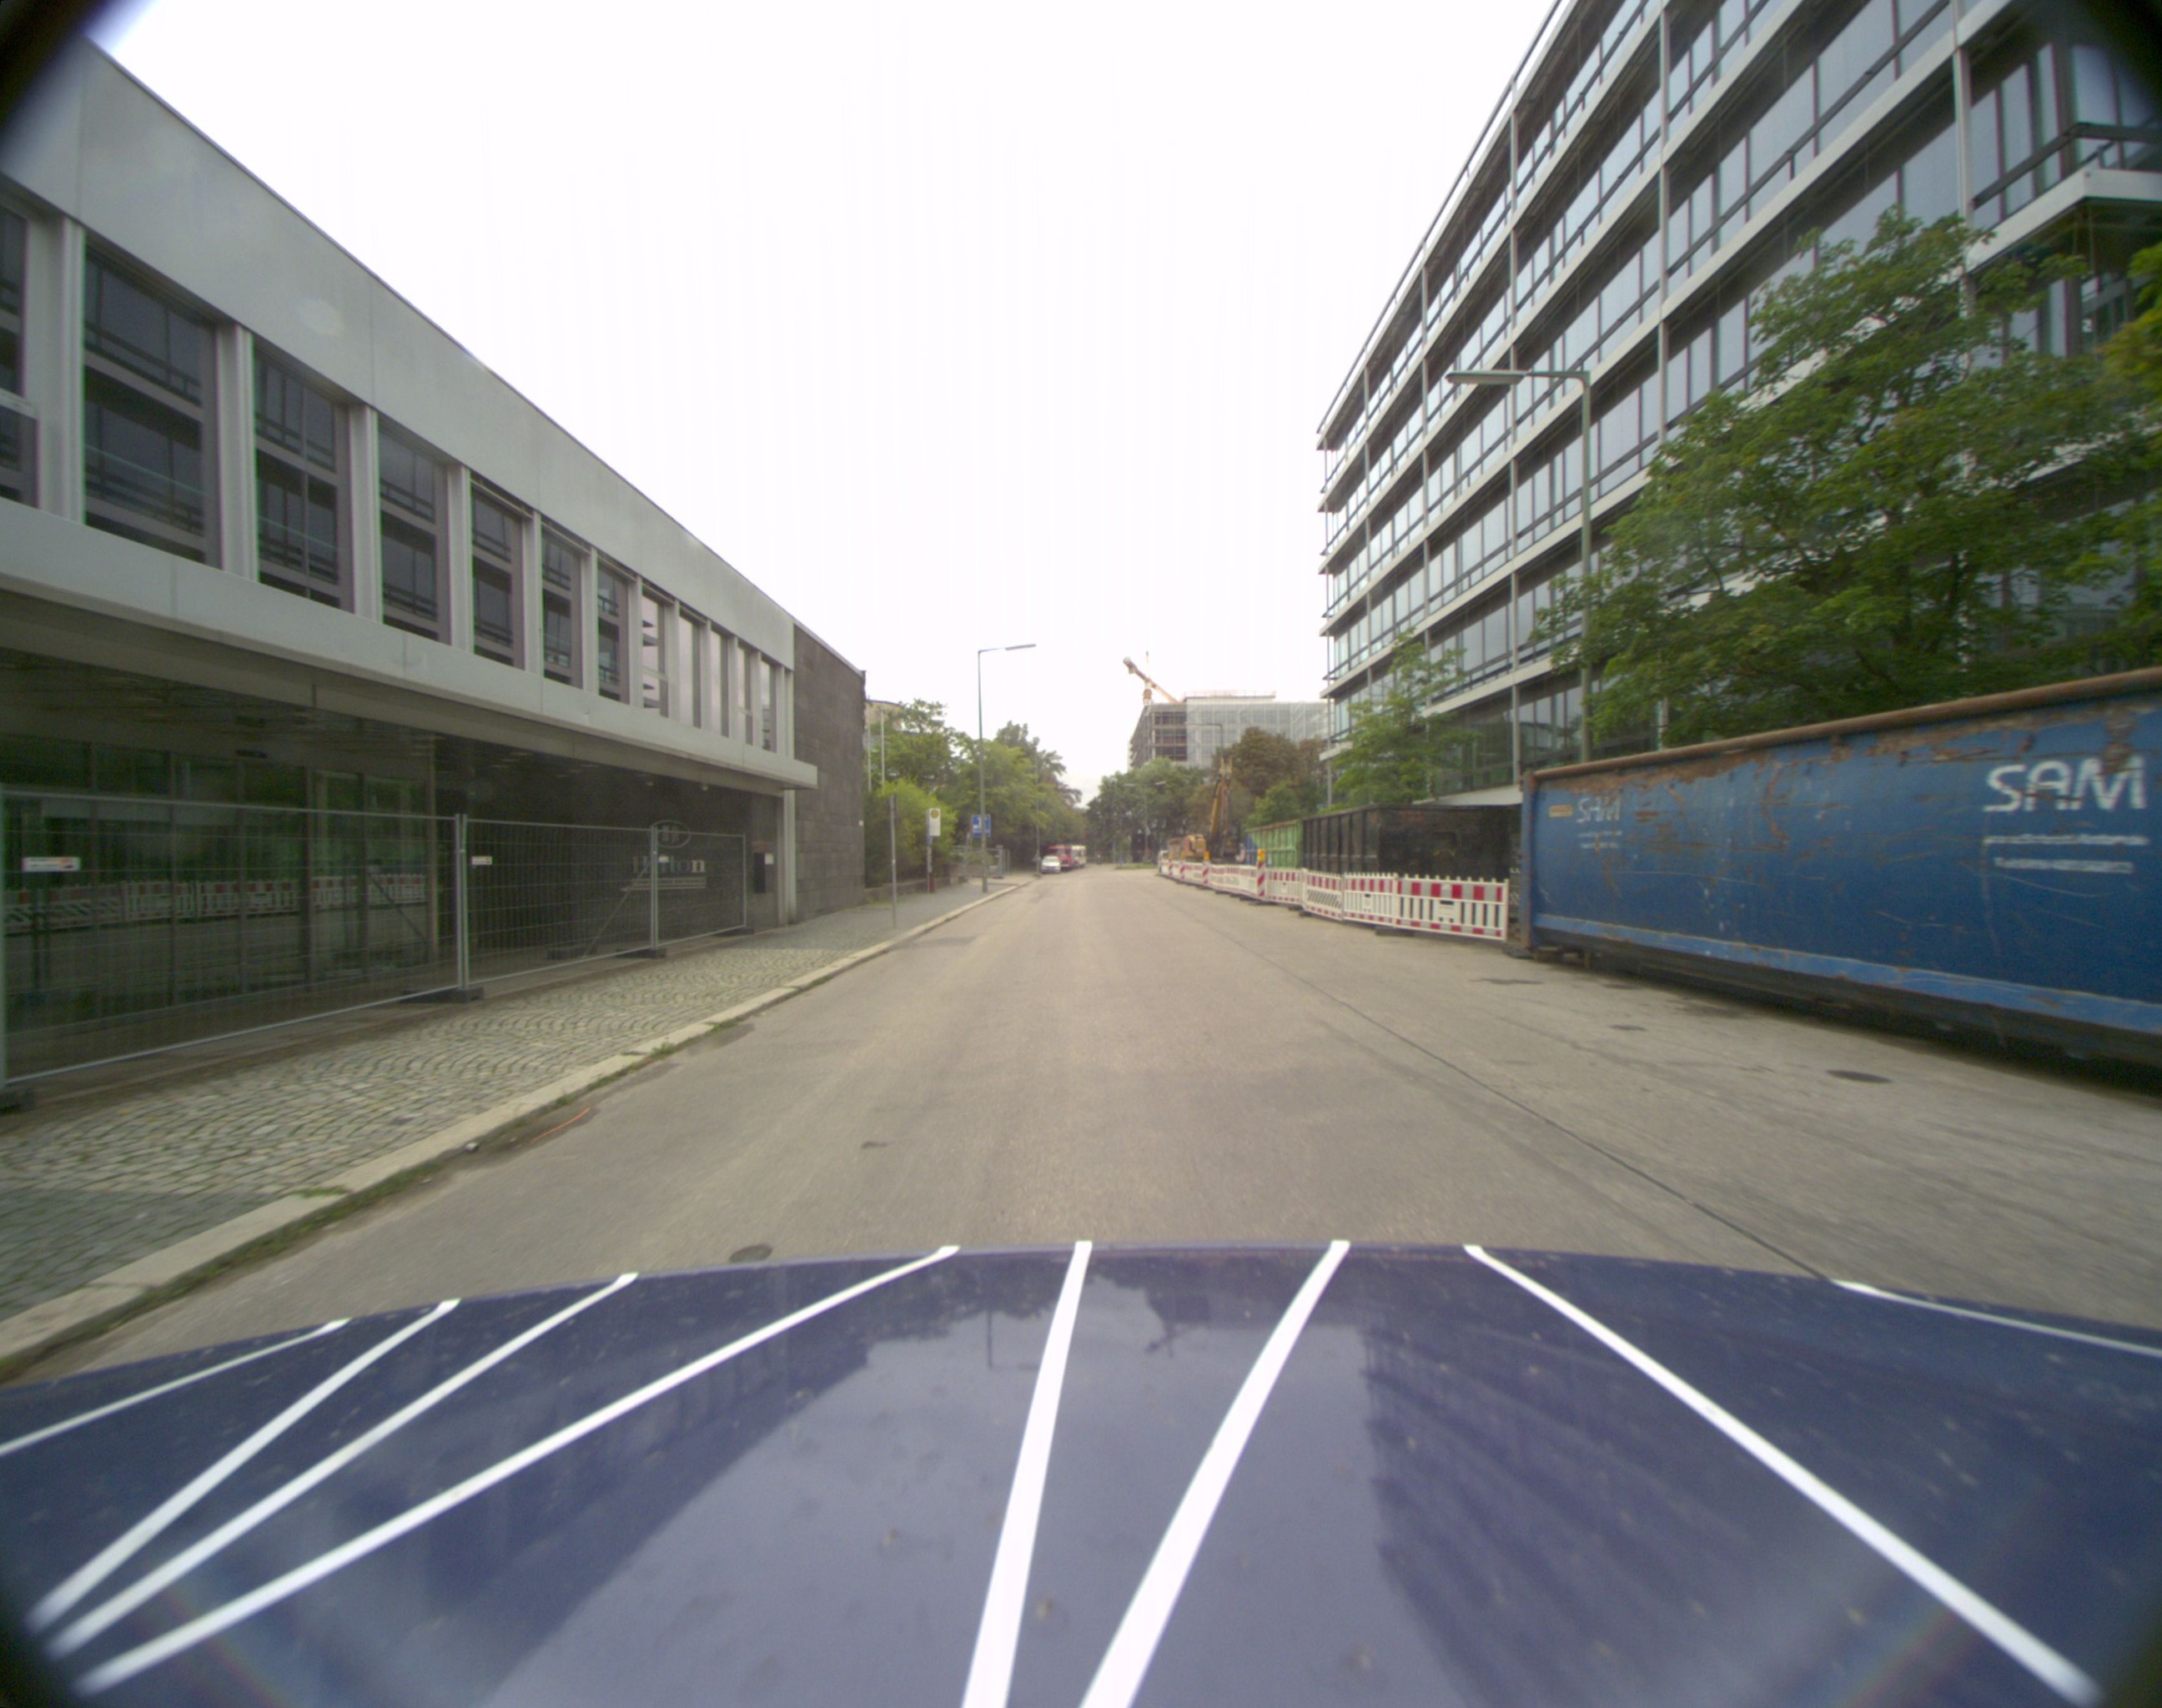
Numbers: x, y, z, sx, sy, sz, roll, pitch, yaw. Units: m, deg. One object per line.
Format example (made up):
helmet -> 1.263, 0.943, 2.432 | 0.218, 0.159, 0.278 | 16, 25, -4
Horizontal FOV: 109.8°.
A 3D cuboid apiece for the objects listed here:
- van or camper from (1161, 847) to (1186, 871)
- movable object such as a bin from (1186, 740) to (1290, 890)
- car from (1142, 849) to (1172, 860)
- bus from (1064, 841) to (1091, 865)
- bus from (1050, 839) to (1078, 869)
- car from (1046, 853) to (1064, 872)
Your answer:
van or camper -> 8.464, 0.452, 70.246 | 1.993, 2.022, 5.588 | 1, 0, 4
movable object such as a bin -> 7.668, -1.755, 39.060 | 2.911, 6.526, 11.782 | 0, 1, 0
car -> 11.186, 0.044, 111.772 | 3.891, 1.564, 1.786 | 0, 2, -22
bus -> -0.355, -0.109, 87.665 | 2.076, 2.714, 5.871 | 0, 0, 10
bus -> -1.604, 0.015, 73.771 | 2.077, 2.789, 6.274 | 0, 0, 5
car -> -2.279, 0.738, 66.914 | 1.536, 1.483, 4.059 | 0, 1, -2
